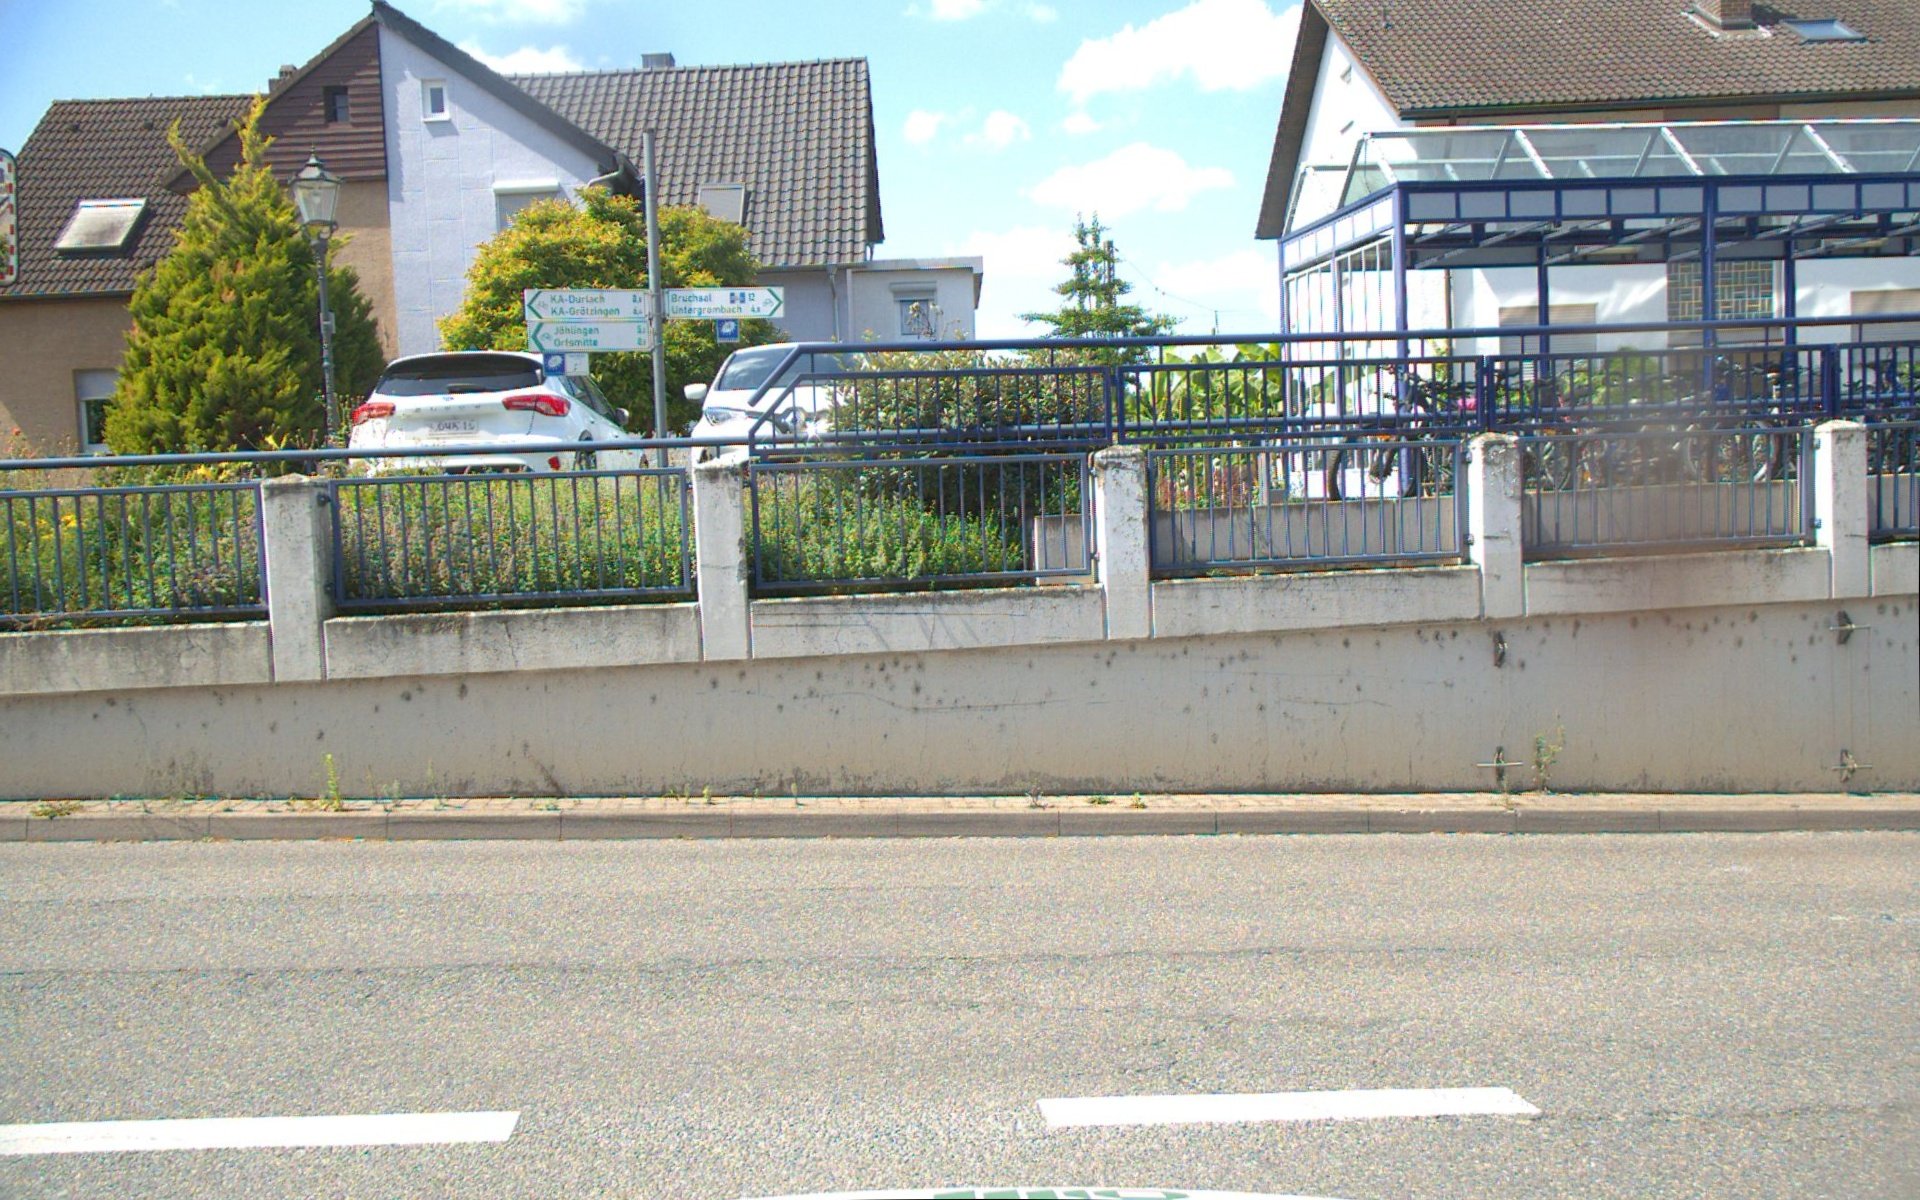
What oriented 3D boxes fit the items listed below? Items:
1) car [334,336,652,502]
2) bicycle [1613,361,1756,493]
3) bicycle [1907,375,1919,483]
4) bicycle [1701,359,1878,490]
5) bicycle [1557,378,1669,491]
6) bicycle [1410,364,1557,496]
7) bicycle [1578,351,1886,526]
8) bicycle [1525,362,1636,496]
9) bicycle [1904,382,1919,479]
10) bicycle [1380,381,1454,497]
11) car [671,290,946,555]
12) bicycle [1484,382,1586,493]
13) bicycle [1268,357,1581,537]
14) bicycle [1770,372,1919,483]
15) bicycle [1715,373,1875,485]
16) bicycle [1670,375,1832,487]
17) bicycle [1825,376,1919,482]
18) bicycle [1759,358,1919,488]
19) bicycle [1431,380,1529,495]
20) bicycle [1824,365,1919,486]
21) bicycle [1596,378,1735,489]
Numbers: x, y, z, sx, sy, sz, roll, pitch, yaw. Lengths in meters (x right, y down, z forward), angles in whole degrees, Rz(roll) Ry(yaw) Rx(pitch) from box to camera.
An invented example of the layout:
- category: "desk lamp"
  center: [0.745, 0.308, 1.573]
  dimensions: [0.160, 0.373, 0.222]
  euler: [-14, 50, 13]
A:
- category: "car"
  center: [-3.761, -1.434, 13.923]
  dimensions: [1.788, 1.037, 3.458]
  euler: [1, 1, -2]
- category: "bicycle"
  center: [6.110, -1.428, 14.054]
  dimensions: [0.426, 1.012, 2.104]
  euler: [-1, 3, 4]
- category: "bicycle"
  center: [9.426, -1.579, 14.779]
  dimensions: [0.522, 1.012, 2.186]
  euler: [-2, 3, -5]
- category: "bicycle"
  center: [7.172, -1.484, 14.422]
  dimensions: [0.426, 1.012, 2.282]
  euler: [-2, 3, 1]
- category: "bicycle"
  center: [6.426, -1.604, 16.361]
  dimensions: [0.365, 1.012, 1.967]
  euler: [-2, 3, 2]
- category: "bicycle"
  center: [4.427, -1.410, 14.125]
  dimensions: [0.326, 1.012, 2.072]
  euler: [-2, 3, -8]
- category: "bicycle"
  center: [5.376, -1.126, 11.518]
  dimensions: [2.076, 1.145, 0.392]
  euler: [-2, 3, -9]
- category: "bicycle"
  center: [5.129, -1.379, 13.766]
  dimensions: [0.426, 1.012, 2.105]
  euler: [-1, 3, 8]
- category: "bicycle"
  center: [10.441, -1.755, 16.695]
  dimensions: [0.509, 1.012, 1.963]
  euler: [-2, 3, -7]
- category: "bicycle"
  center: [4.337, -1.501, 15.772]
  dimensions: [0.445, 1.012, 1.890]
  euler: [-1, 3, 9]
- category: "car"
  center: [-1.166, -1.335, 14.062]
  dimensions: [1.953, 1.828, 4.195]
  euler: [1, 1, -2]
- category: "bicycle"
  center: [5.695, -1.586, 16.473]
  dimensions: [0.365, 1.012, 1.967]
  euler: [-2, 3, 2]
- category: "bicycle"
  center: [3.139, -1.032, 11.168]
  dimensions: [2.076, 1.145, 0.332]
  euler: [-2, 3, -9]
- category: "bicycle"
  center: [9.031, -1.711, 16.725]
  dimensions: [0.509, 1.012, 1.963]
  euler: [-2, 3, -7]
- category: "bicycle"
  center: [8.338, -1.681, 16.605]
  dimensions: [0.406, 1.012, 1.963]
  euler: [-2, 3, -7]
- category: "bicycle"
  center: [7.872, -1.663, 16.557]
  dimensions: [0.464, 1.012, 1.963]
  euler: [-2, 3, -7]
- category: "bicycle"
  center: [9.671, -1.744, 16.936]
  dimensions: [0.509, 1.012, 1.799]
  euler: [-2, 3, -7]
- category: "bicycle"
  center: [7.742, -1.505, 14.465]
  dimensions: [0.426, 1.012, 2.282]
  euler: [-2, 3, 1]
- category: "bicycle"
  center: [4.998, -1.536, 15.990]
  dimensions: [0.365, 1.012, 1.967]
  euler: [-2, 3, 2]
- category: "bicycle"
  center: [8.499, -1.530, 14.464]
  dimensions: [0.522, 1.012, 2.279]
  euler: [-2, 3, -5]
- category: "bicycle"
  center: [7.033, -1.637, 16.587]
  dimensions: [0.418, 1.012, 1.964]
  euler: [-2, 3, -4]
